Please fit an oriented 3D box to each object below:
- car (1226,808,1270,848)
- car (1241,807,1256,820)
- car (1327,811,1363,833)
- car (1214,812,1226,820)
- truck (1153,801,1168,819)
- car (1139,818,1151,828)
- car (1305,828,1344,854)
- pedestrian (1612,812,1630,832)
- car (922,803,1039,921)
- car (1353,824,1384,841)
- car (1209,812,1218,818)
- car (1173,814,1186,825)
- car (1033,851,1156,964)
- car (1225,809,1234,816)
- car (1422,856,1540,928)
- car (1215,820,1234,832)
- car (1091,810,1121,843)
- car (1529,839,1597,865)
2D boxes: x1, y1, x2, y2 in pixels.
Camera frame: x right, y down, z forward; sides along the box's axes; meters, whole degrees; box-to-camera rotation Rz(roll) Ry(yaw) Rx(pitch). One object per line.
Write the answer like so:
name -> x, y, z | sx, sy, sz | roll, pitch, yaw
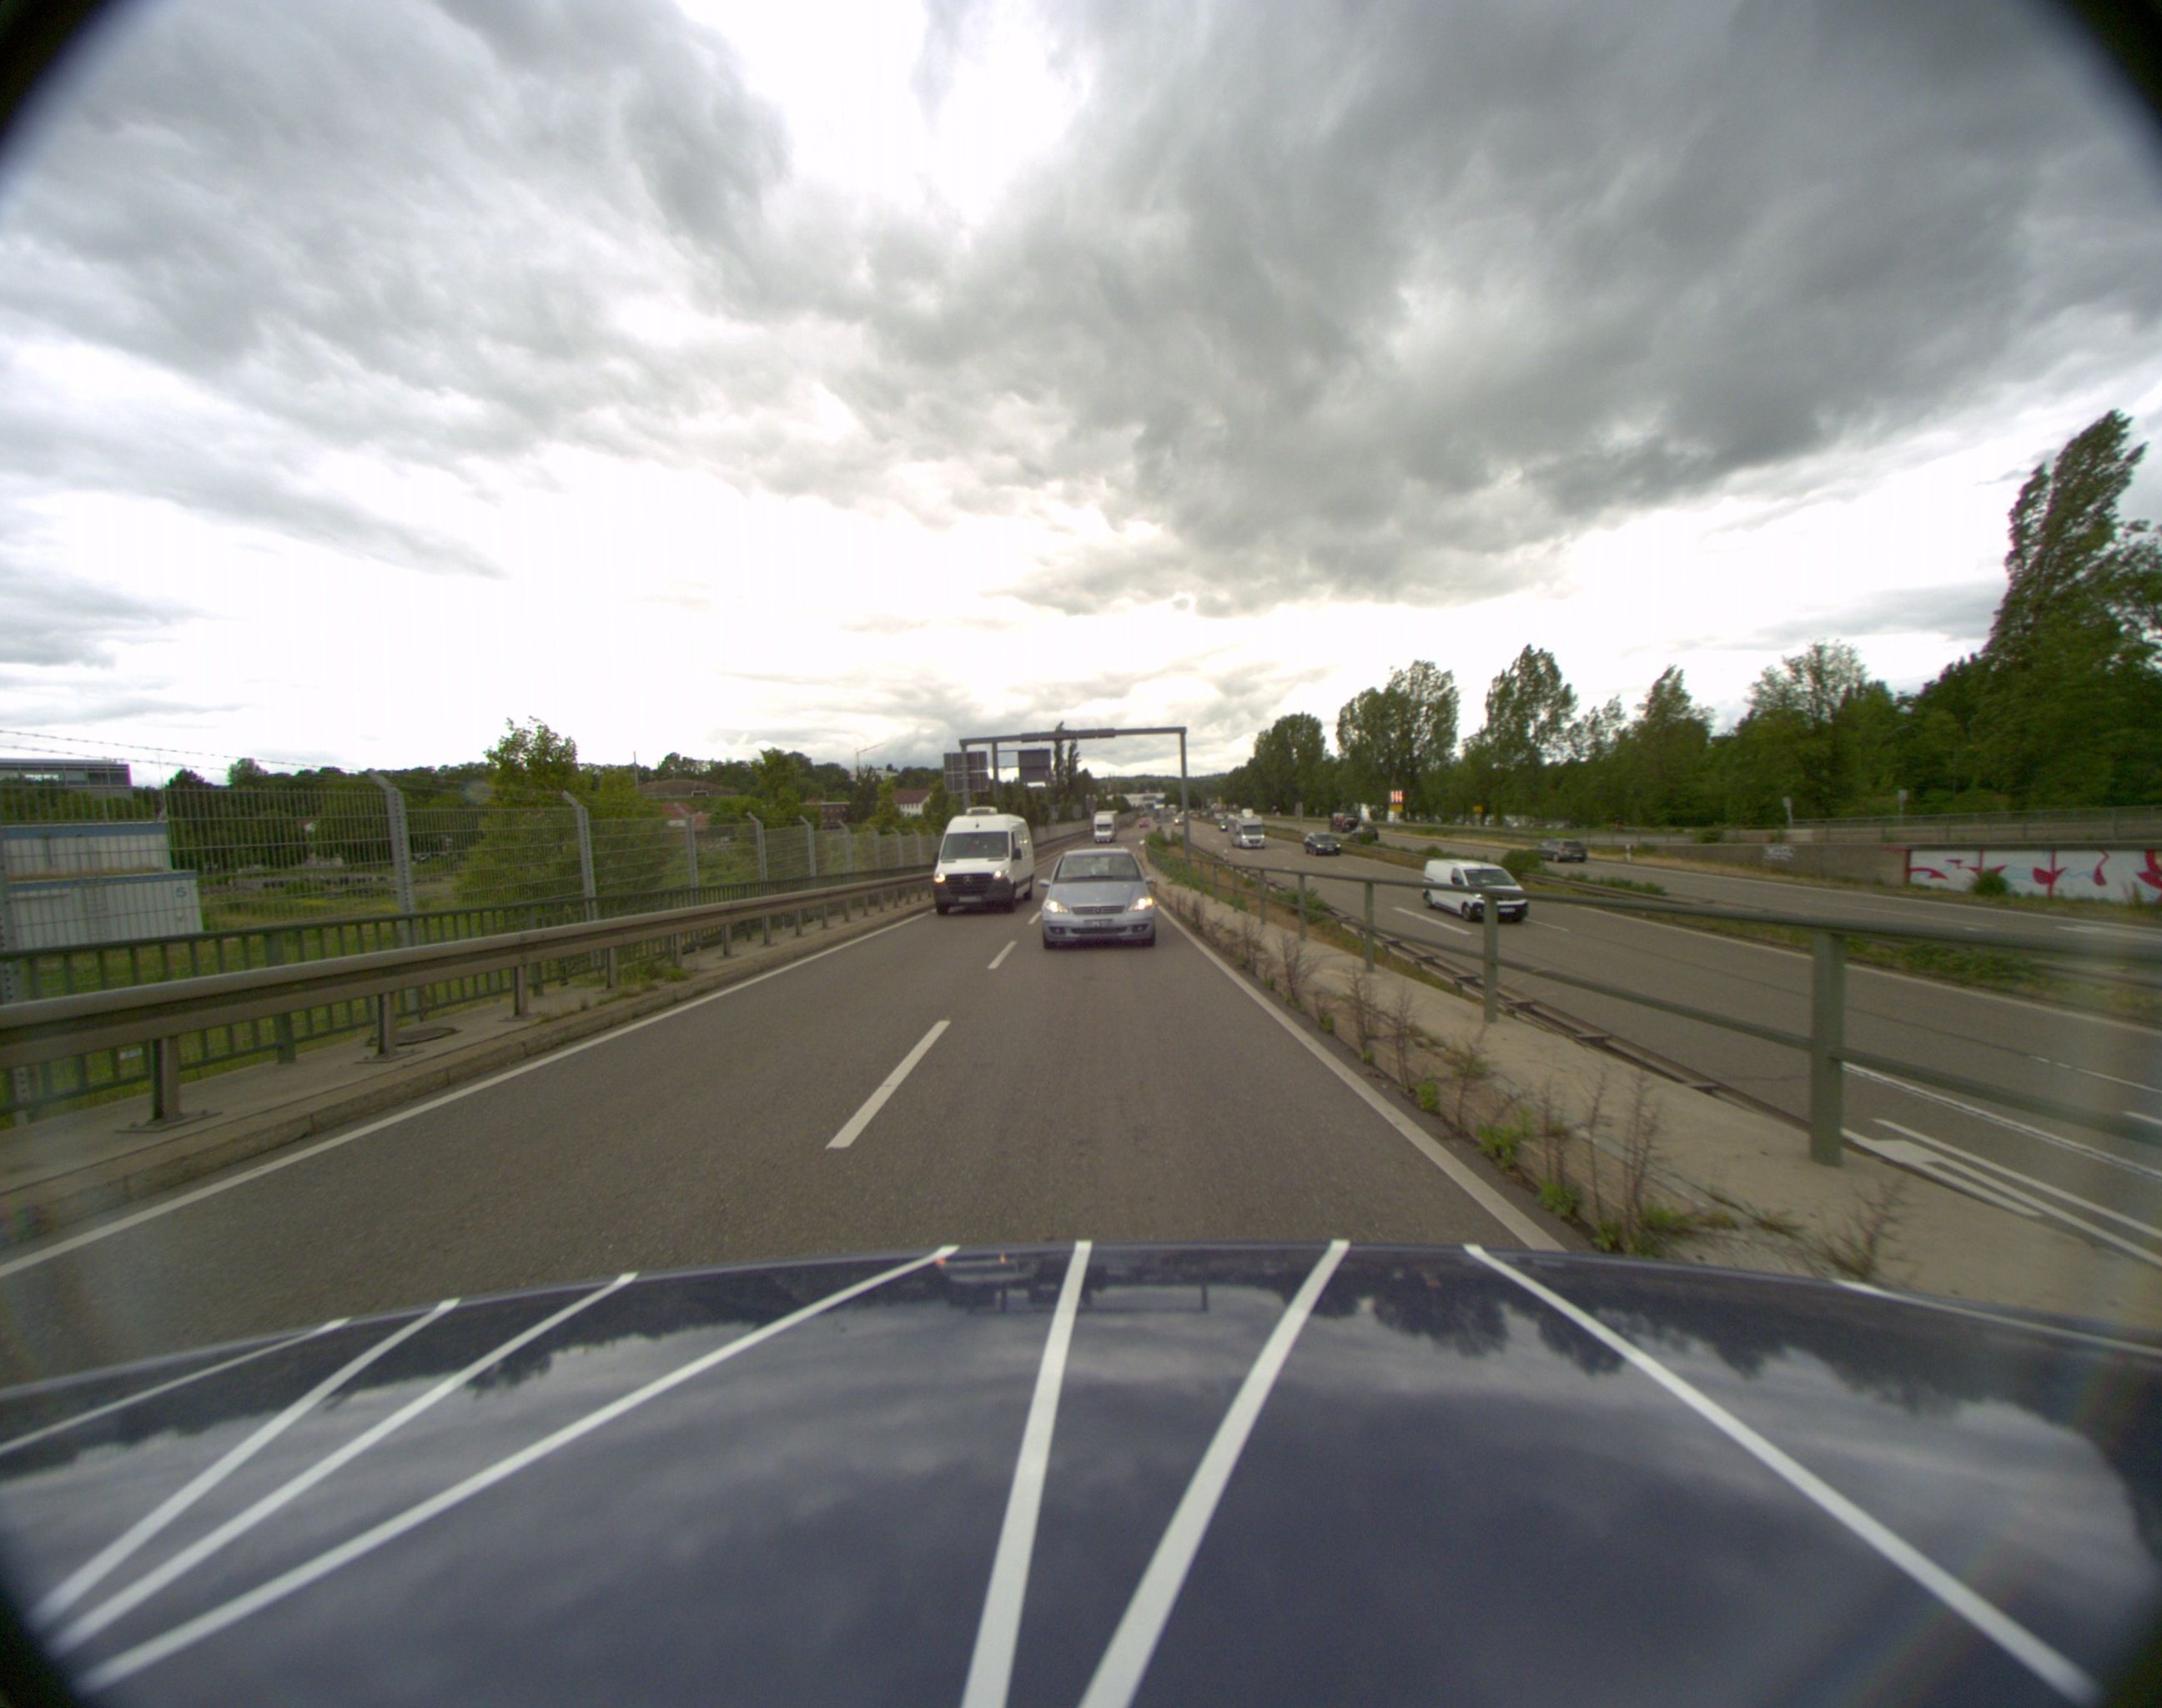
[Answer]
car -> 15.042, -2.428, 69.041 | 2.367, 3.223, 7.654 | -2, 4, 1
car -> 37.436, -9.125, 170.320 | 2.215, 2.765, 5.356 | -1, 5, 1
car -> 32.630, -3.999, 94.100 | 2.250, 2.534, 6.109 | -2, 4, 0
car -> 30.271, -8.339, 165.752 | 1.761, 1.641, 3.929 | -2, 4, 1
truck -> 19.309, -10.640, 184.556 | 2.758, 4.229, 6.693 | -1, 4, 0
car -> 11.125, -5.280, 131.743 | 1.780, 1.578, 4.000 | -2, 1, 2
car -> 18.650, -1.013, 58.303 | 1.844, 1.704, 4.277 | -1, 4, 4
pedestrian -> 47.945, -2.872, 67.437 | 0.832, 1.696, 1.077 | -3, 5, 1
car -> -2.609, 0.141, 21.695 | 2.115, 2.768, 6.779 | -2, 1, 2
car -> 28.446, -2.113, 75.357 | 1.668, 1.493, 3.855 | -1, 4, 1
car -> 40.754, -12.076, 233.880 | 1.903, 1.641, 3.929 | -2, 3, 1
car -> 18.096, -6.378, 139.506 | 1.845, 1.789, 4.279 | -2, 1, 1
car -> 0.224, 0.791, 13.308 | 1.780, 1.578, 3.999 | -2, 1, 1
car -> 41.099, -11.446, 210.444 | 1.903, 1.640, 3.931 | -2, 1, 1
car -> 14.335, 1.272, 27.611 | 1.954, 1.925, 4.893 | -2, 5, 4
car -> 19.750, -3.877, 104.666 | 1.754, 1.562, 4.217 | -2, 4, 1
car -> 2.842, -3.023, 84.075 | 2.664, 3.311, 7.091 | -2, 2, 6
car -> 30.758, -0.175, 48.621 | 1.715, 1.368, 4.107 | -1, 4, 0
